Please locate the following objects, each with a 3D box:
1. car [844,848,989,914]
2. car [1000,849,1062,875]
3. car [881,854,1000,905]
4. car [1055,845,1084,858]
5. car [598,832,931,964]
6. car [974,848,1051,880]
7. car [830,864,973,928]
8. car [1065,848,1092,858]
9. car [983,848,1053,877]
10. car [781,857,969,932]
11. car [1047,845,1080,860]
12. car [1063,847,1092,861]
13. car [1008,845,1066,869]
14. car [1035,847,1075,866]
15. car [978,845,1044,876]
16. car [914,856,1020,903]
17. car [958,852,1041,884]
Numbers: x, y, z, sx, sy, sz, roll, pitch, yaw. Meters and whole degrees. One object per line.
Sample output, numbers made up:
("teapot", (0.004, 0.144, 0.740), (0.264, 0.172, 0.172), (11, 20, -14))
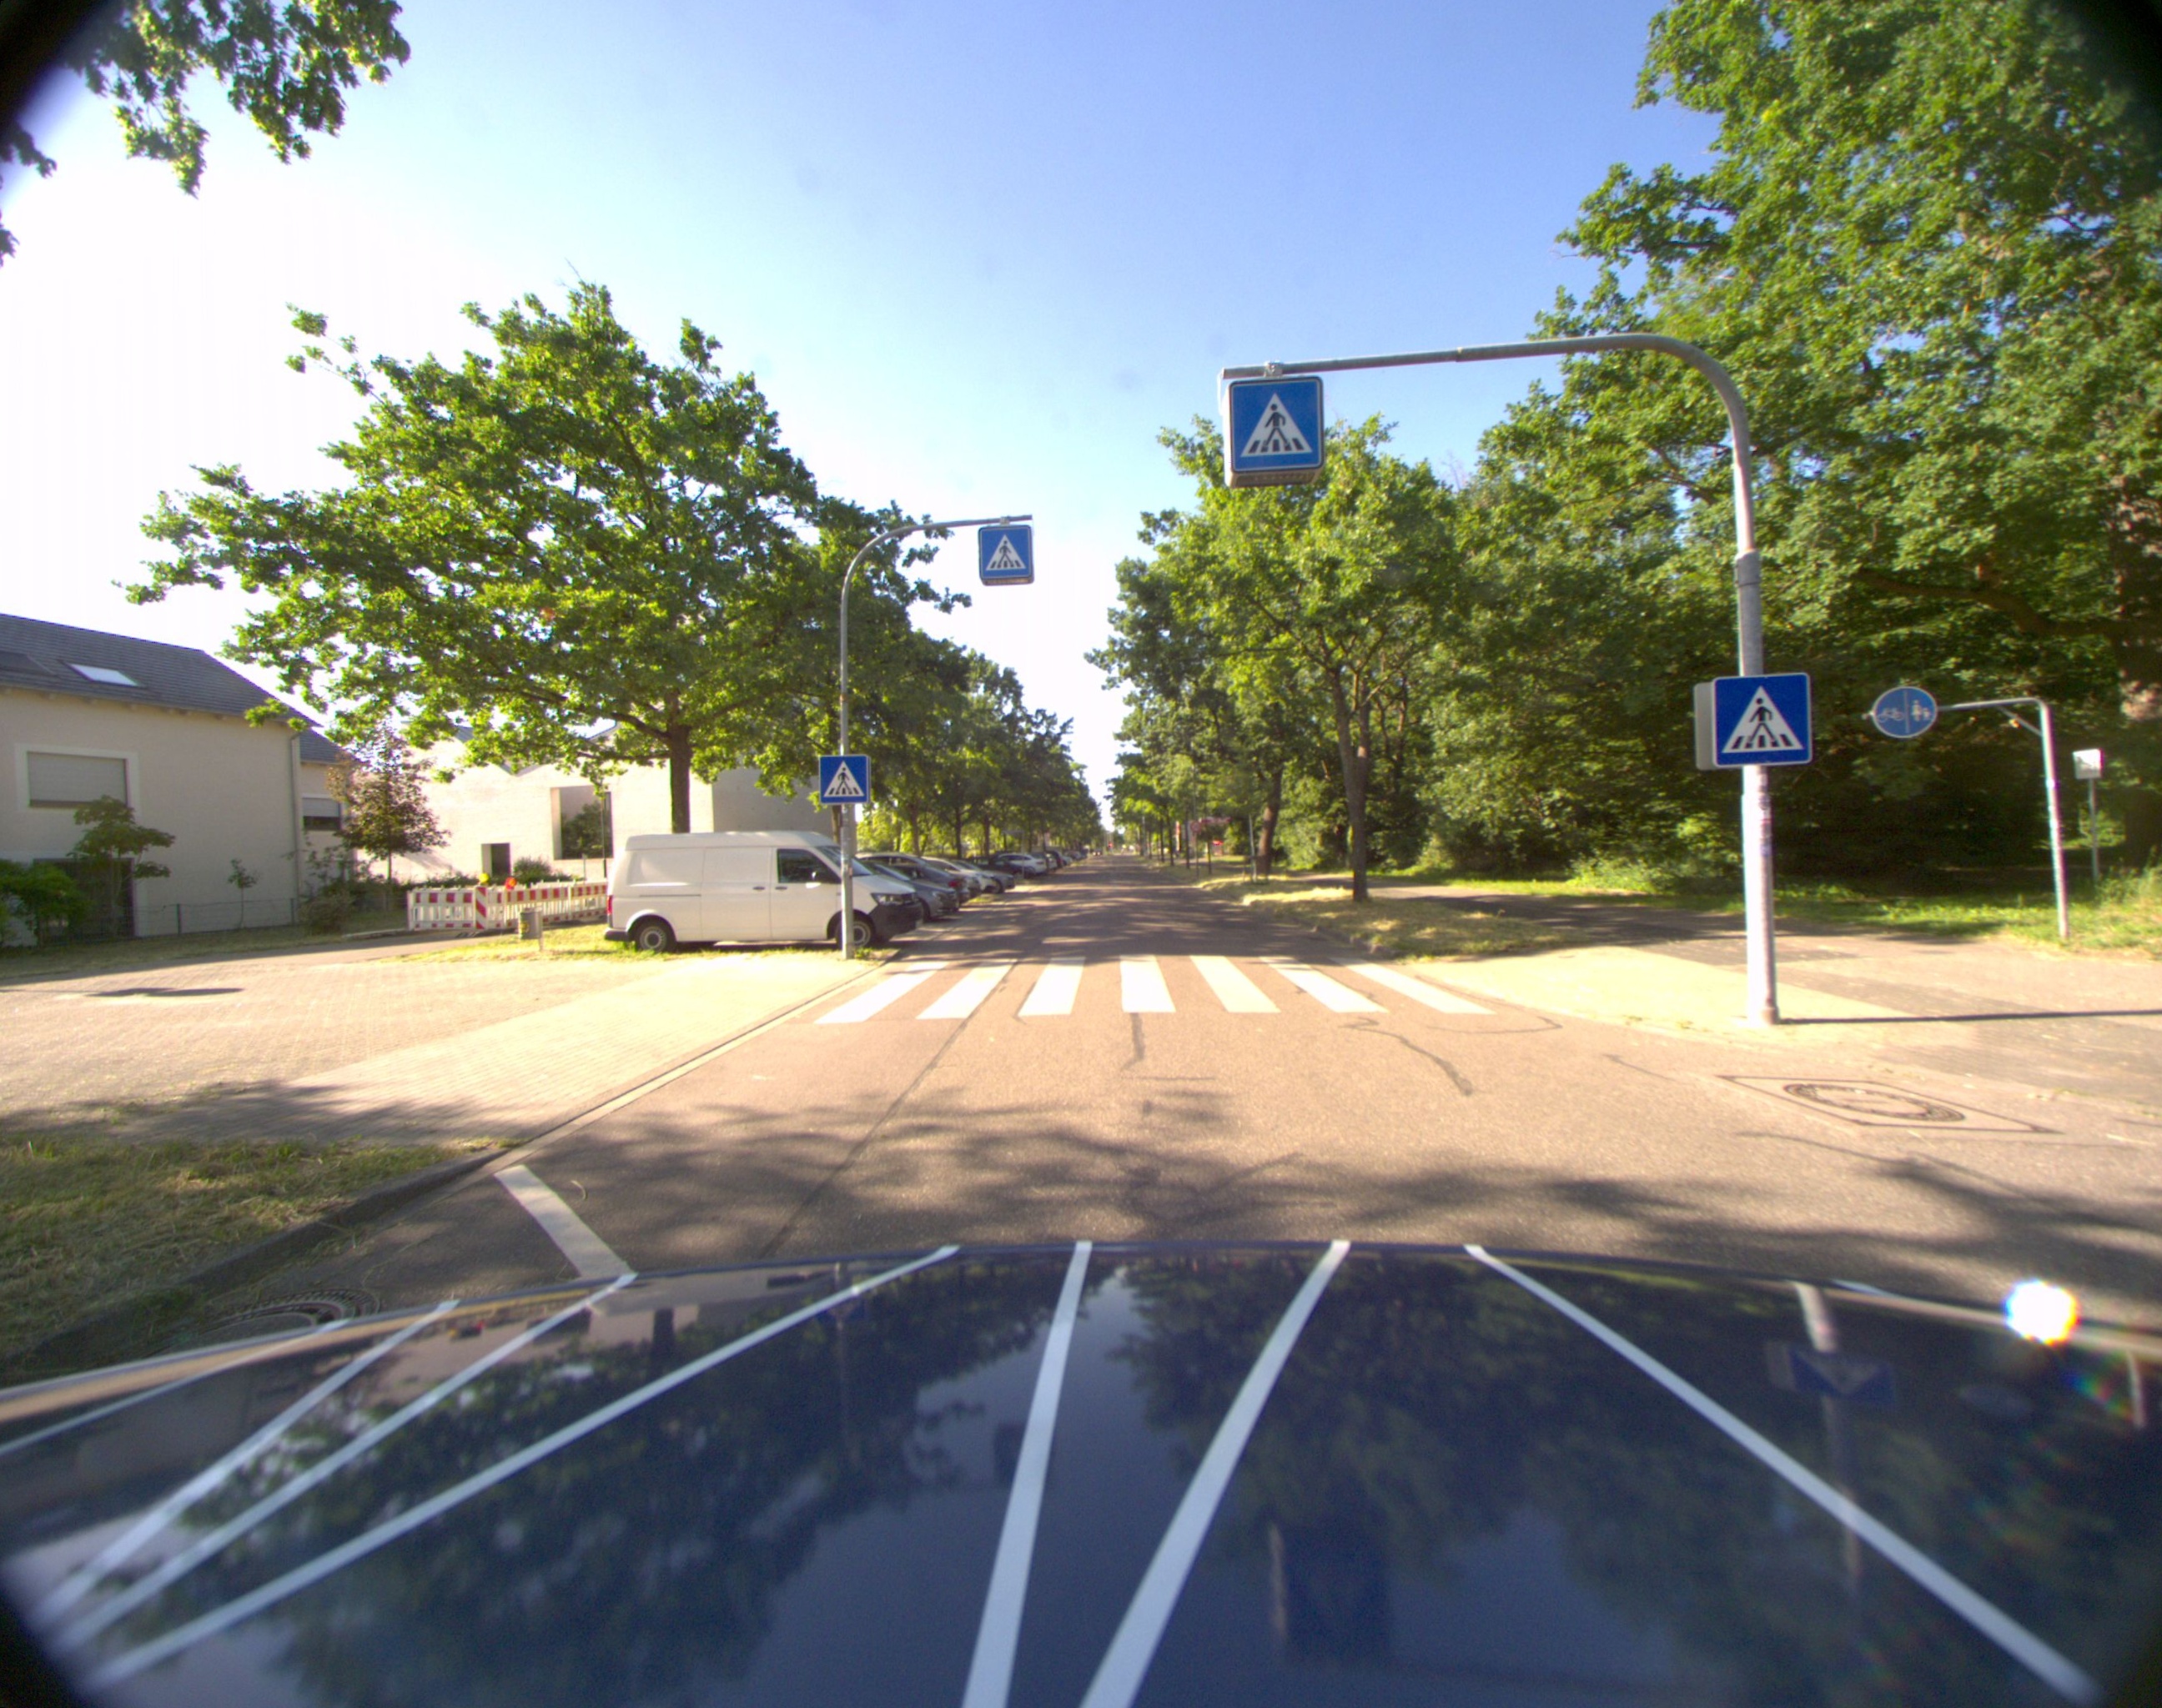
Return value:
("car", (-5.056, 0.811, 23.650), (4.018, 1.783, 1.713), (-3, 1, 4))
("car", (-3.767, 0.573, 57.629), (4.394, 1.733, 1.533), (-3, 1, 4))
("car", (-5.177, 0.919, 28.254), (4.018, 1.669, 1.533), (-3, 1, 4))
("car", (-1.751, -0.334, 117.547), (4.151, 1.838, 1.949), (-3, 1, 3))
("car", (-5.405, 0.726, 13.456), (5.045, 2.069, 1.891), (-1, 1, 2))
("car", (-4.138, 0.599, 46.365), (4.394, 1.733, 1.533), (-3, 1, 4))
("car", (-4.919, 1.131, 21.102), (3.515, 1.533, 1.448), (-3, 1, 4))
("car", (-0.411, -0.106, 122.534), (4.151, 1.401, 1.800), (-3, 1, 3))
("car", (-4.180, 0.560, 50.545), (4.394, 1.733, 1.533), (-3, 1, 4))
("car", (-4.956, 0.963, 18.623), (3.996, 1.554, 1.758), (-3, 1, 4))
("car", (-2.351, -0.204, 101.218), (4.151, 1.838, 1.949), (-3, 1, 3))
("car", (-0.489, -0.018, 112.448), (4.151, 1.838, 1.949), (-3, 1, 3))
("car", (-3.456, 0.222, 60.274), (4.394, 1.733, 1.533), (-3, 1, 4))
("car", (-2.711, 0.241, 80.265), (3.996, 1.838, 1.863), (-3, 1, 3))
("car", (-4.910, 0.427, 53.816), (4.394, 1.977, 1.533), (-3, 1, 4))
("car", (-4.647, 1.030, 31.235), (4.018, 1.650, 1.533), (-3, 1, 4))
("car", (-4.610, 0.782, 43.351), (4.394, 1.632, 1.533), (-3, 1, 4))
